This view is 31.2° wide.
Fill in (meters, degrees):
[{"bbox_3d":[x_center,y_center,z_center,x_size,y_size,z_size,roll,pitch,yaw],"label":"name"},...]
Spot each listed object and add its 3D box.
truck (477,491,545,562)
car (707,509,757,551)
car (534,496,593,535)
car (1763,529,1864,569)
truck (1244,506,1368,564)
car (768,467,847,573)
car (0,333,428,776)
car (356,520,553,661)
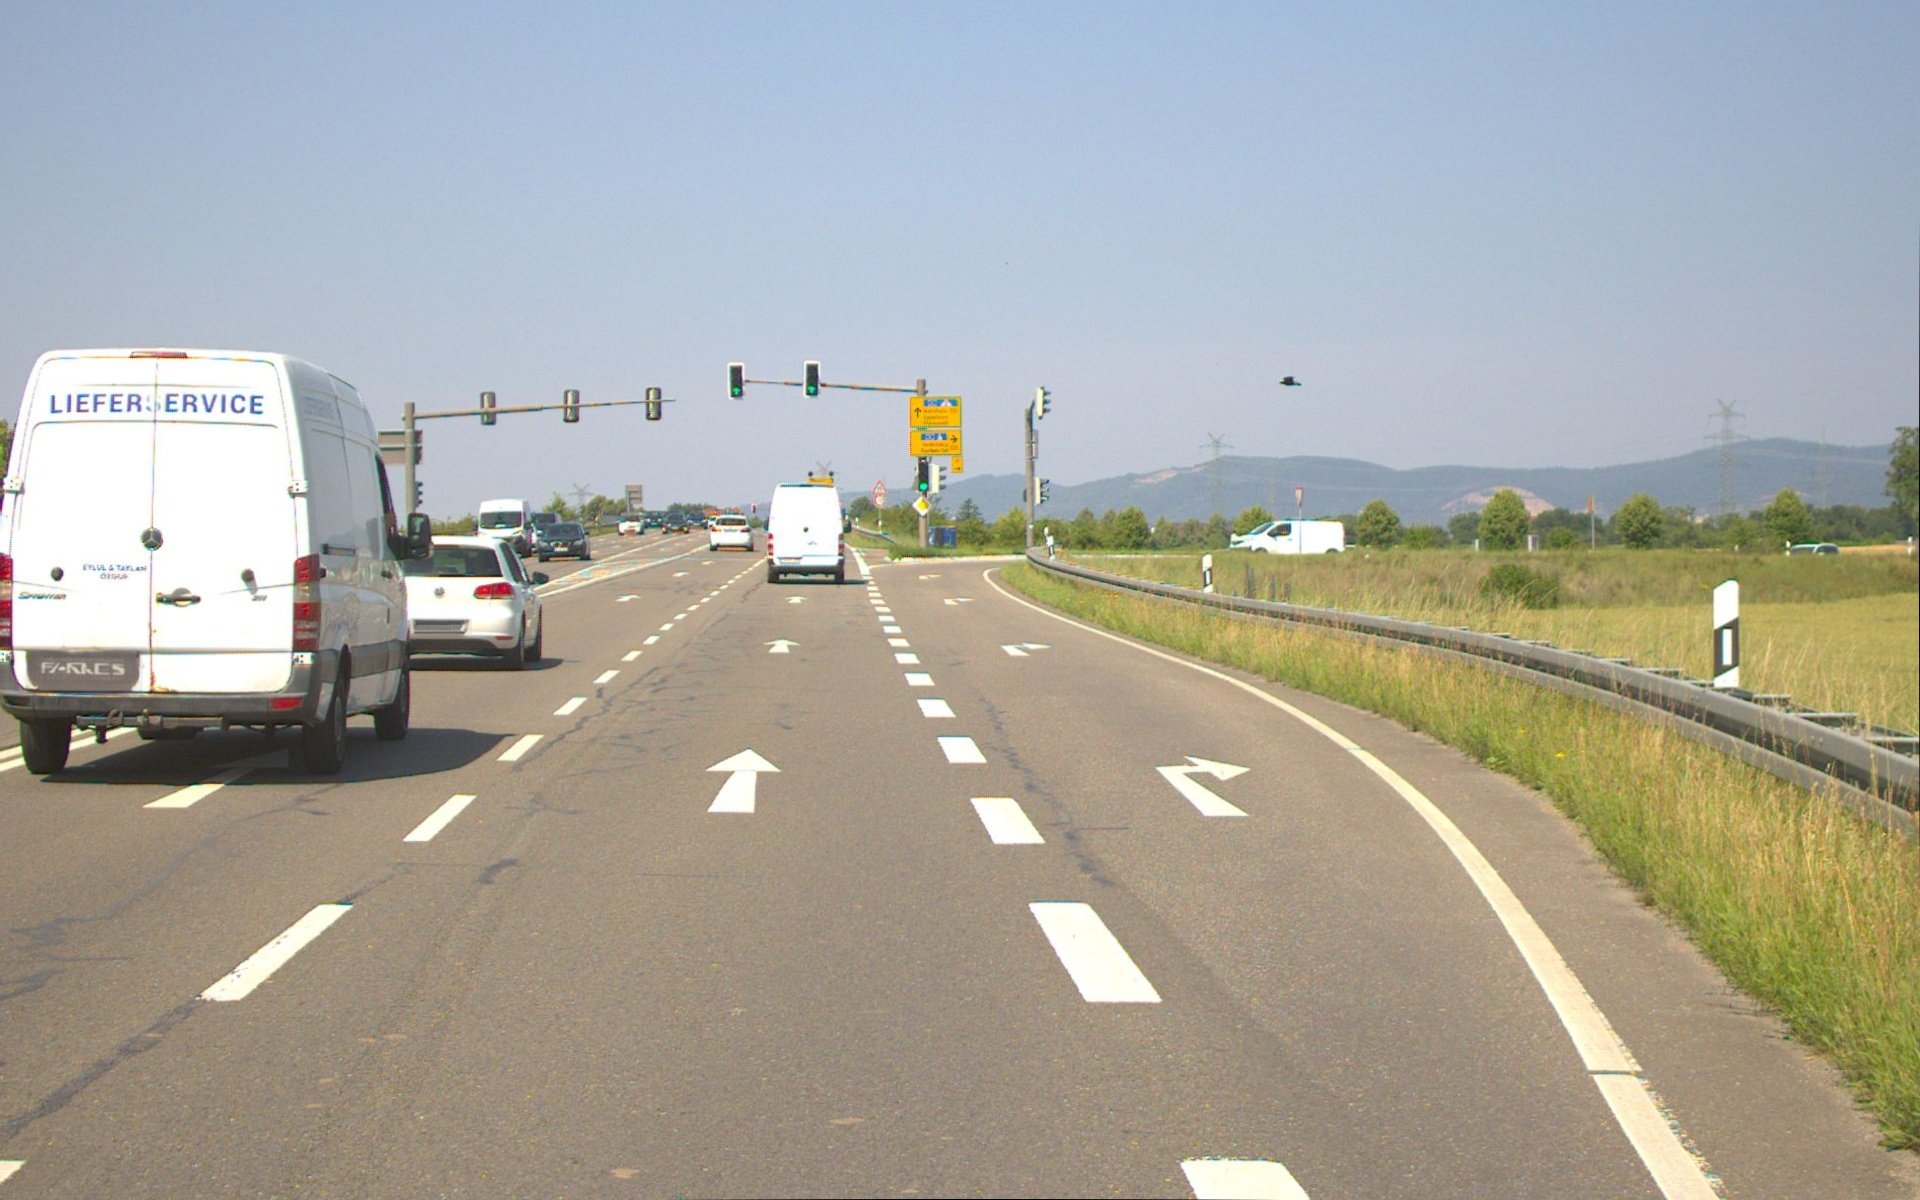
[{"bbox_3d":[-19.216,-3.127,147.382,2.297,2.947,5.283,1,0,-1],"label":"truck"},{"bbox_3d":[-9.760,-2.998,147.411,1.993,1.697,4.275,1,0,-2],"label":"car"},{"bbox_3d":[-15.228,-3.238,132.130,1.857,1.418,4.000,1,0,-1],"label":"car"},{"bbox_3d":[38.300,-2.270,154.256,3.986,1.678,2.000,1,0,-25],"label":"car"},{"bbox_3d":[14.752,-2.758,146.647,4.842,2.312,2.001,1,0,-16],"label":"truck"},{"bbox_3d":[-3.964,-2.068,89.606,1.993,2.686,4.970,0,1,-2],"label":"car"},{"bbox_3d":[-4.910,-0.313,23.144,2.039,2.611,5.742,0,1,-3],"label":"car"},{"bbox_3d":[-5.679,-0.146,39.060,1.799,1.503,4.197,0,1,-3],"label":"car"}]
